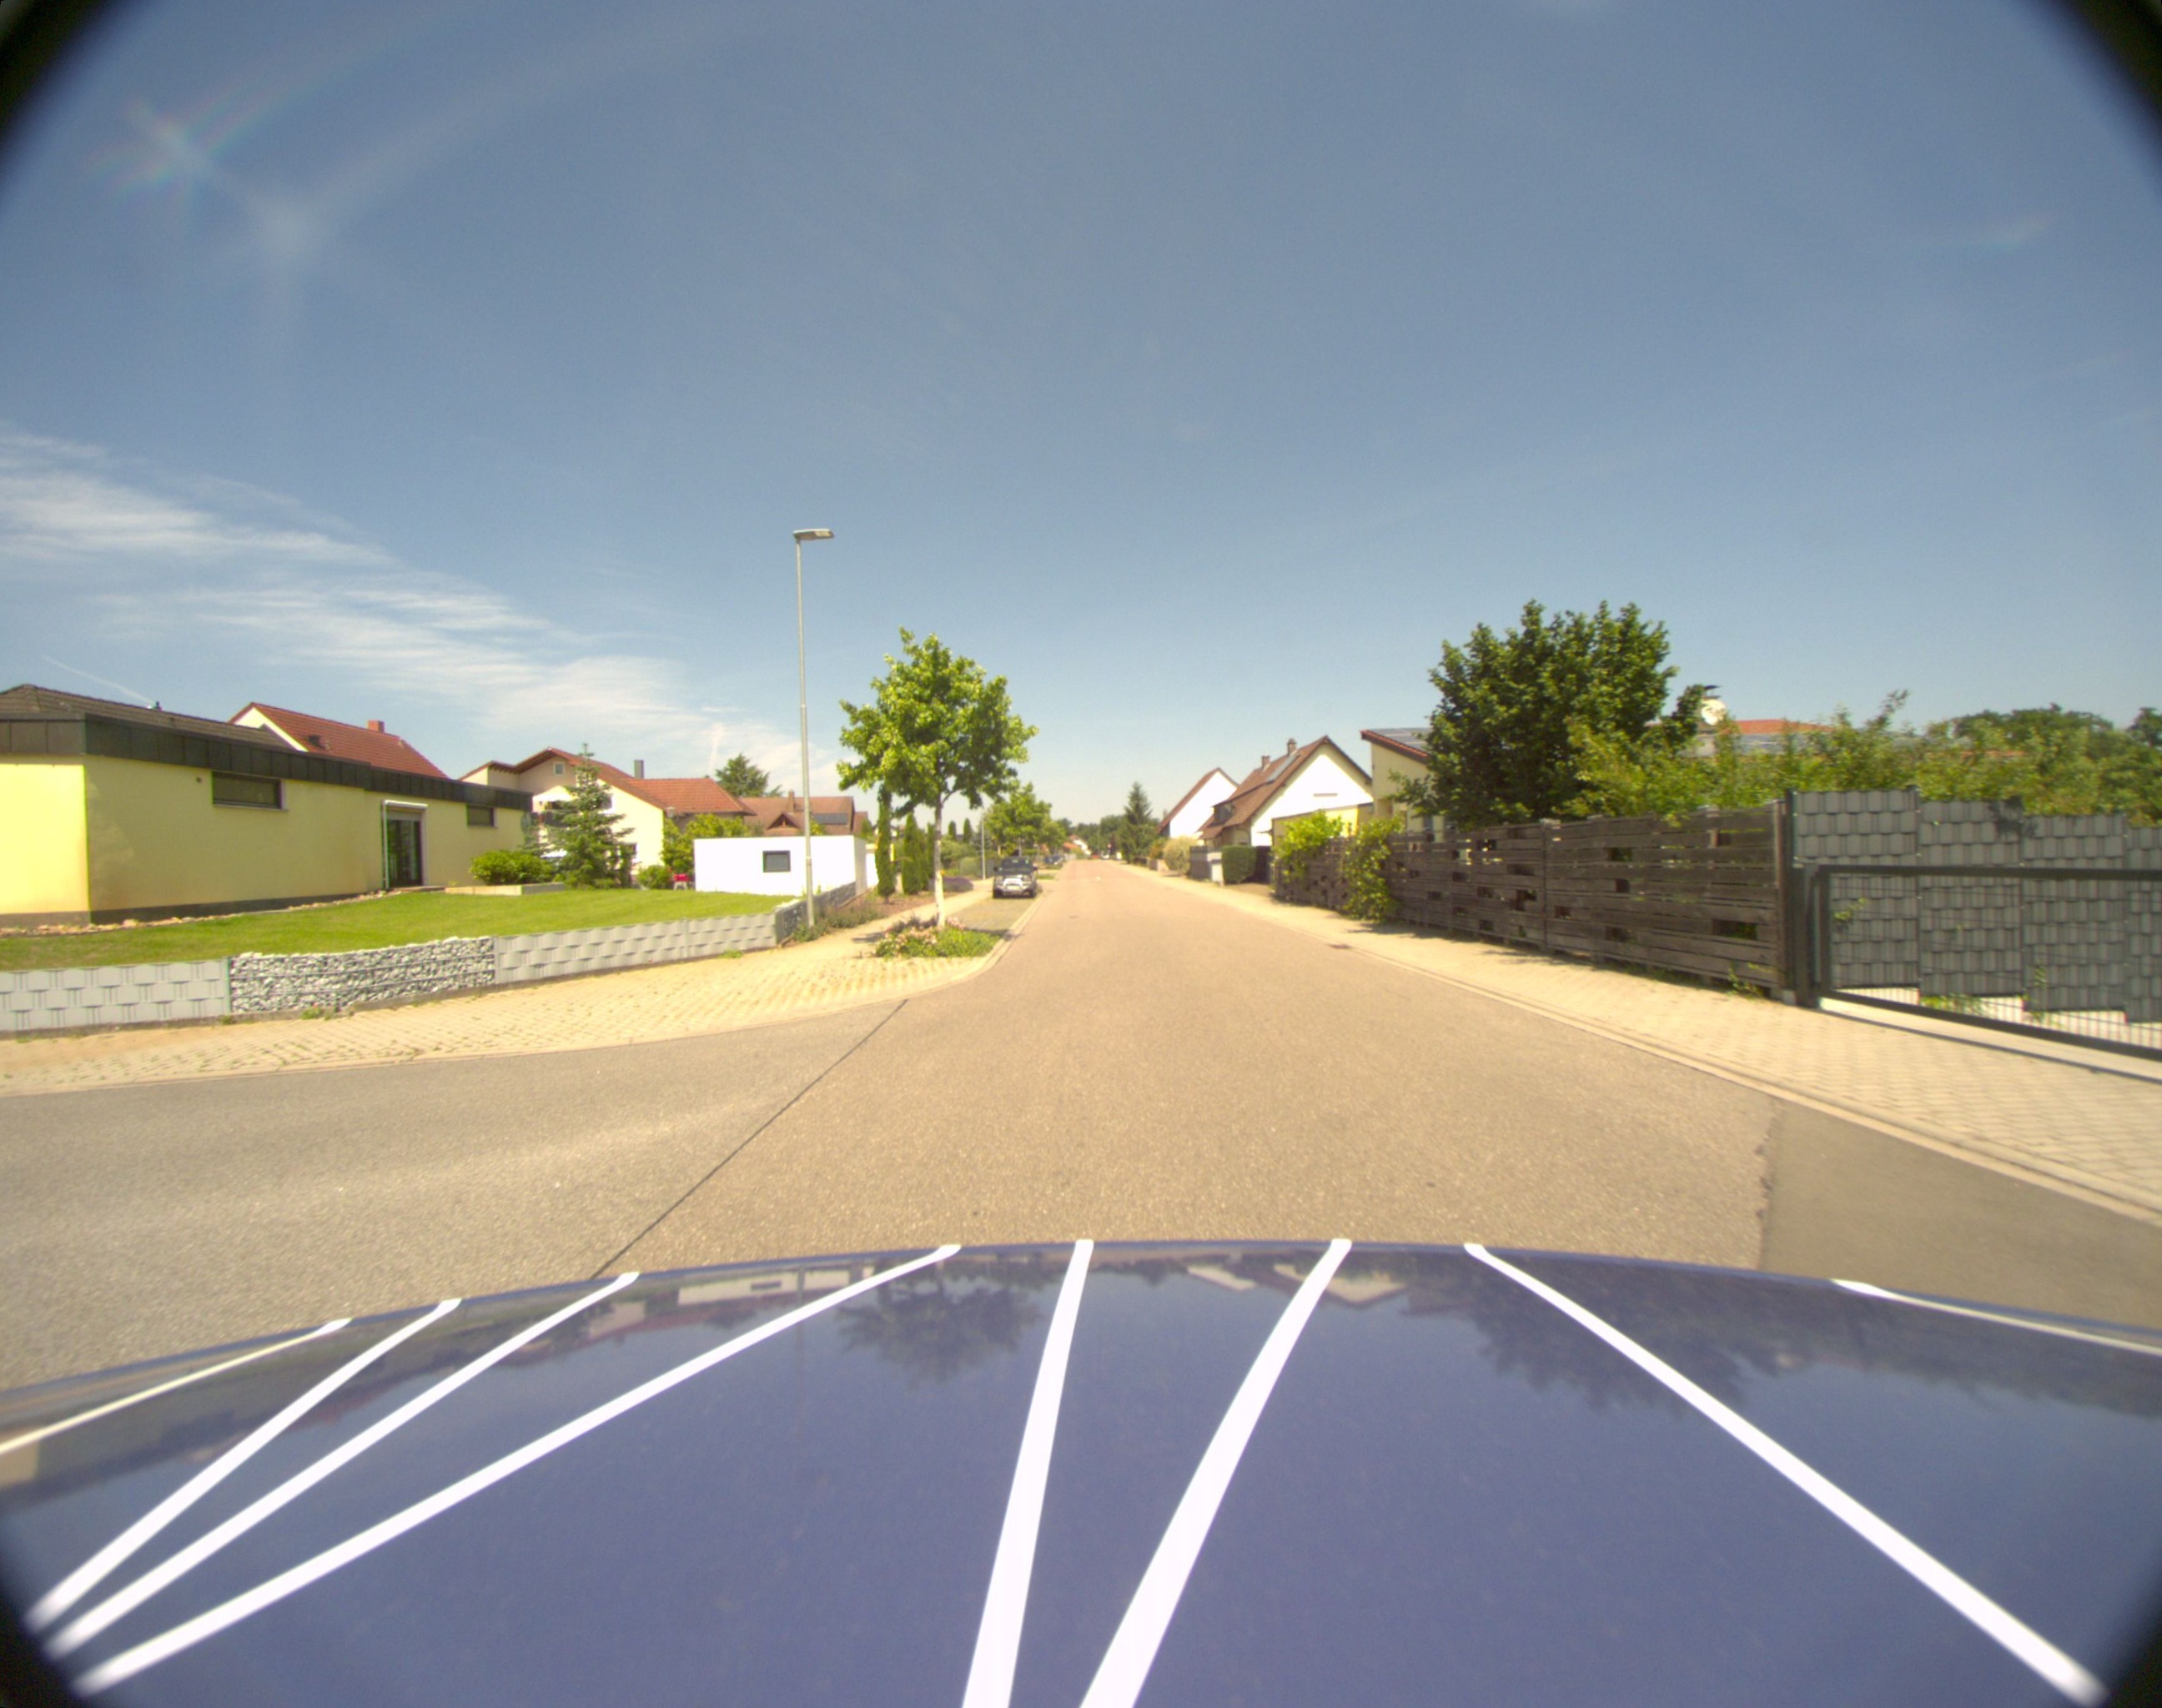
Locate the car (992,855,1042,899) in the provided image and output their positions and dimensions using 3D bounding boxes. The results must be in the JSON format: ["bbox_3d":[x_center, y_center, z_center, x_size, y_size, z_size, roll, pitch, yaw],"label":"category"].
[{"bbox_3d":[-2.555,0.891,31.029,1.597,1.630,3.803,0,0,2],"label":"car"}]
